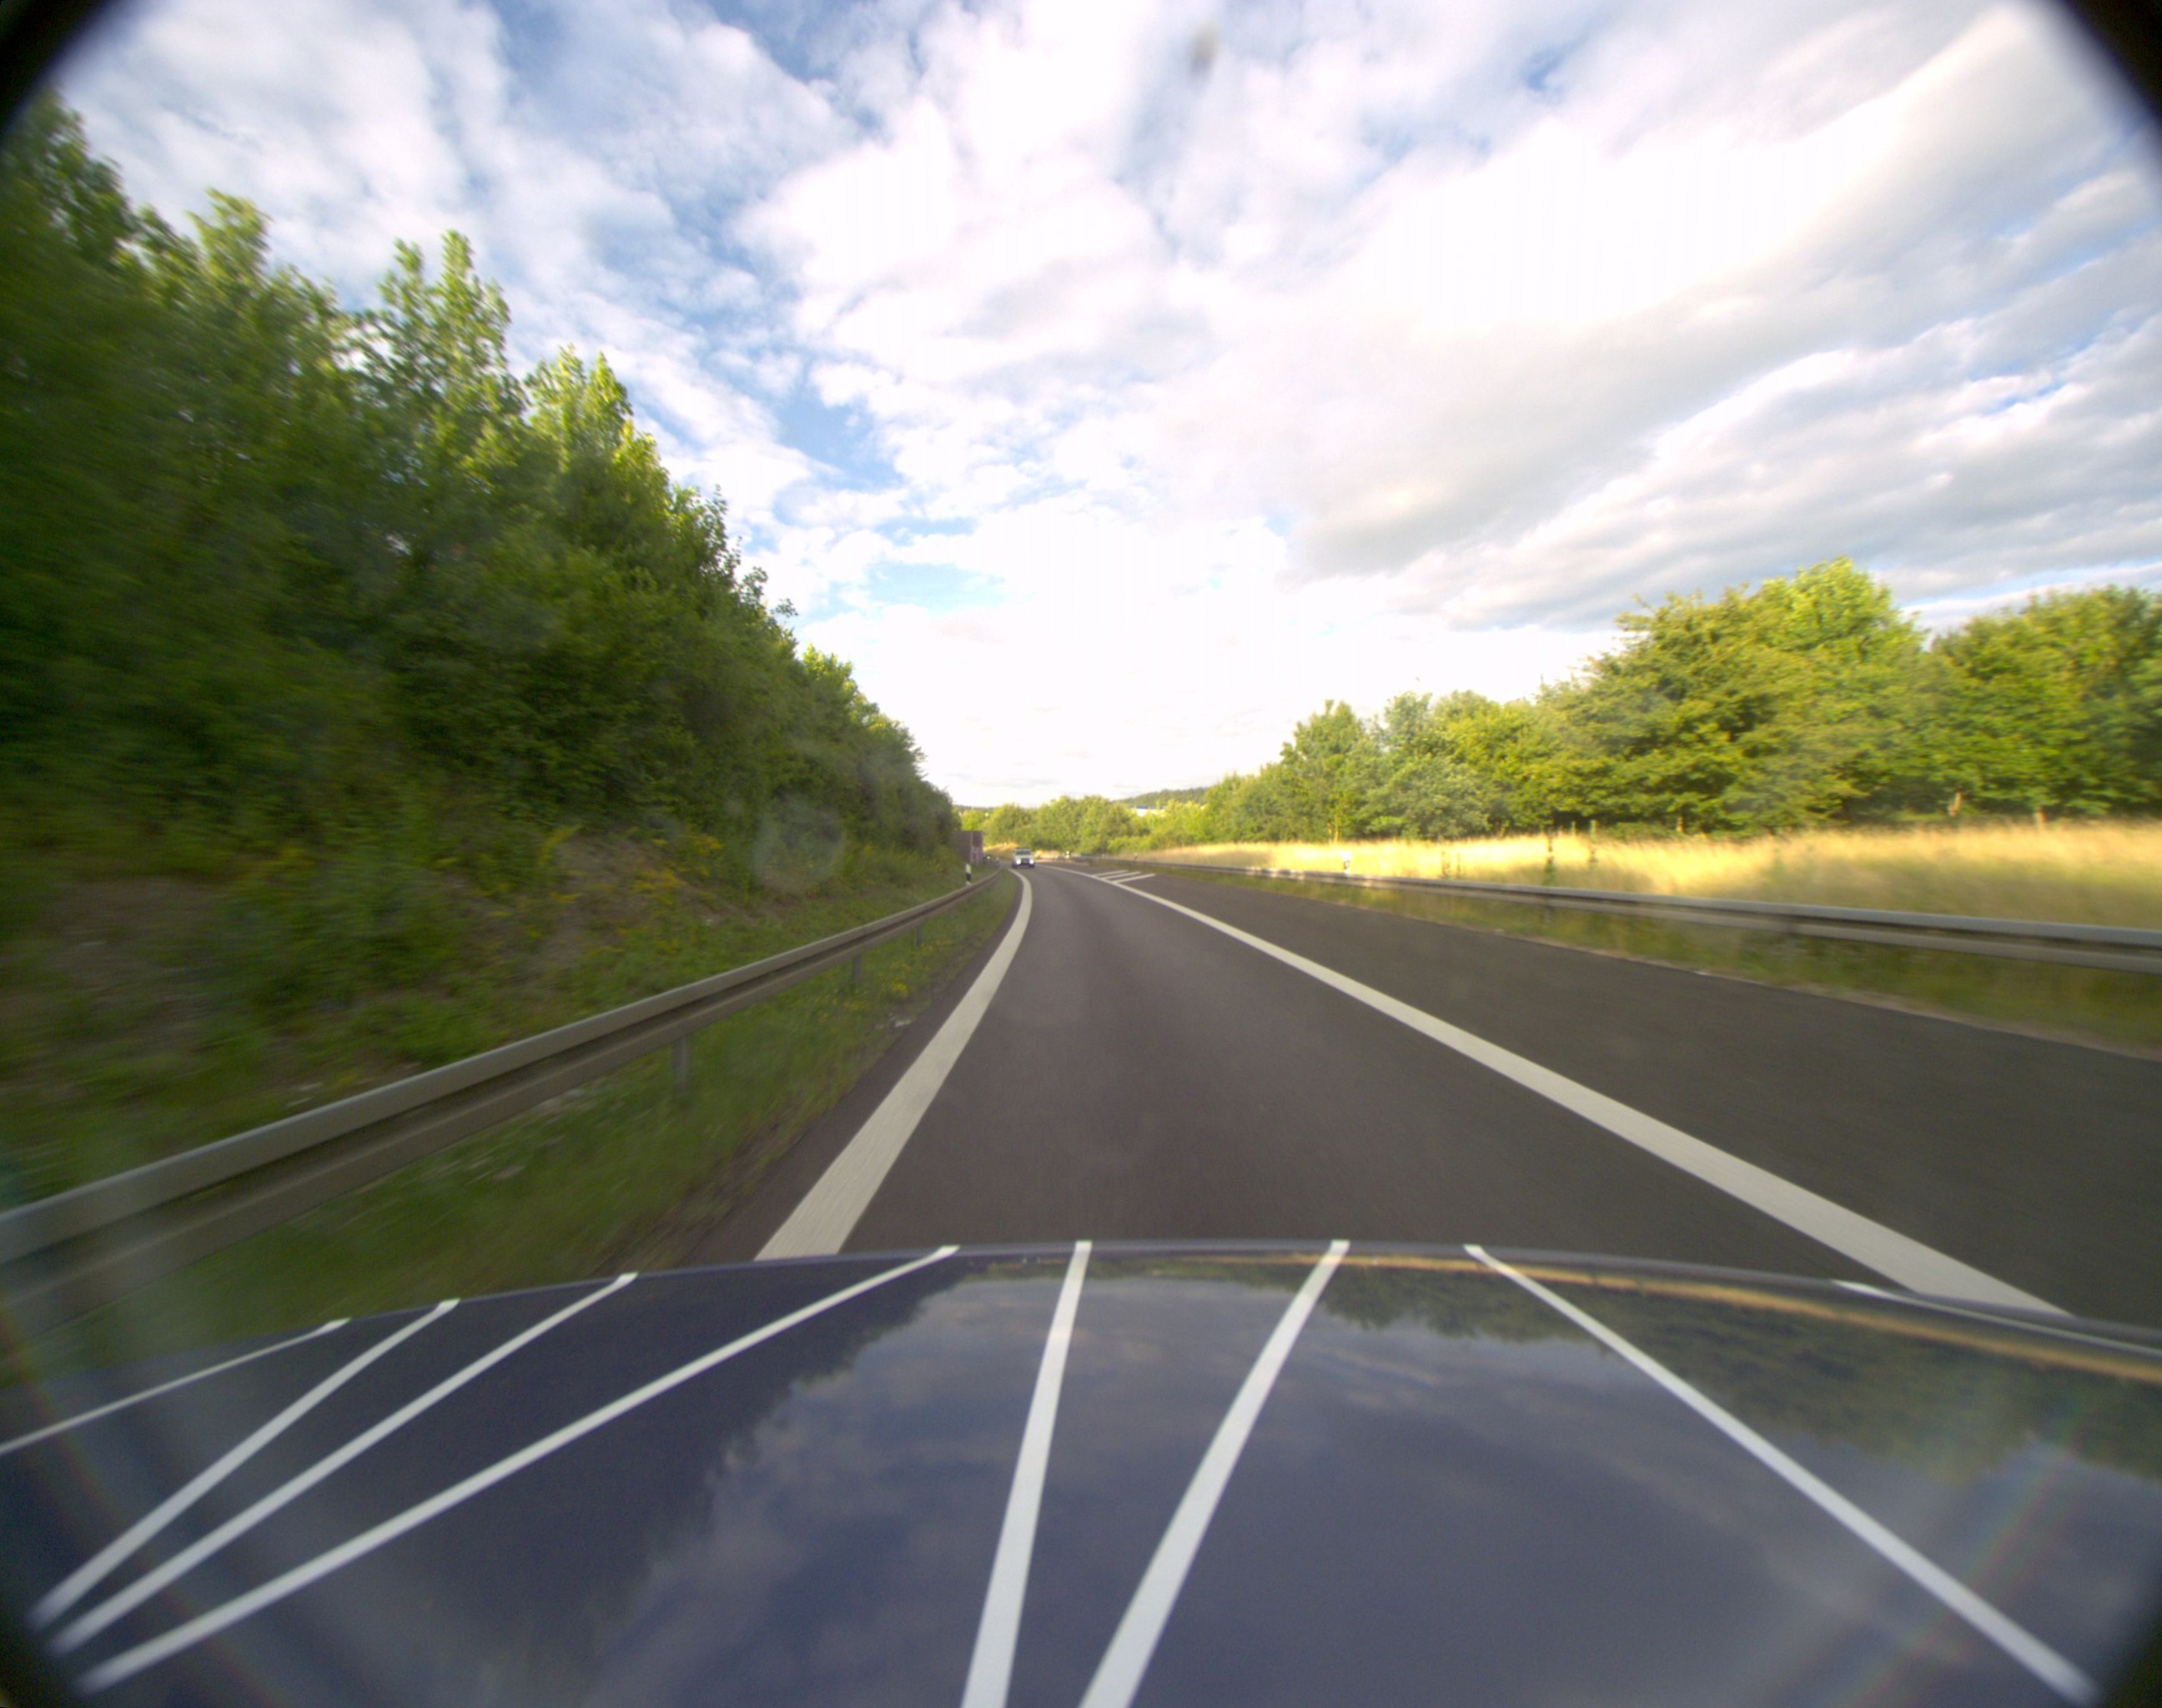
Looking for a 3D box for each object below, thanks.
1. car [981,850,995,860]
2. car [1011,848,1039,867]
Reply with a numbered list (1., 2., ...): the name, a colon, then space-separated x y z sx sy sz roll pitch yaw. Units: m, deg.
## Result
1. car: -13.759 0.133 112.179 1.621 1.451 3.658 -2 1 -13
2. car: -5.310 0.272 71.691 1.907 1.655 3.995 -3 1 -13
